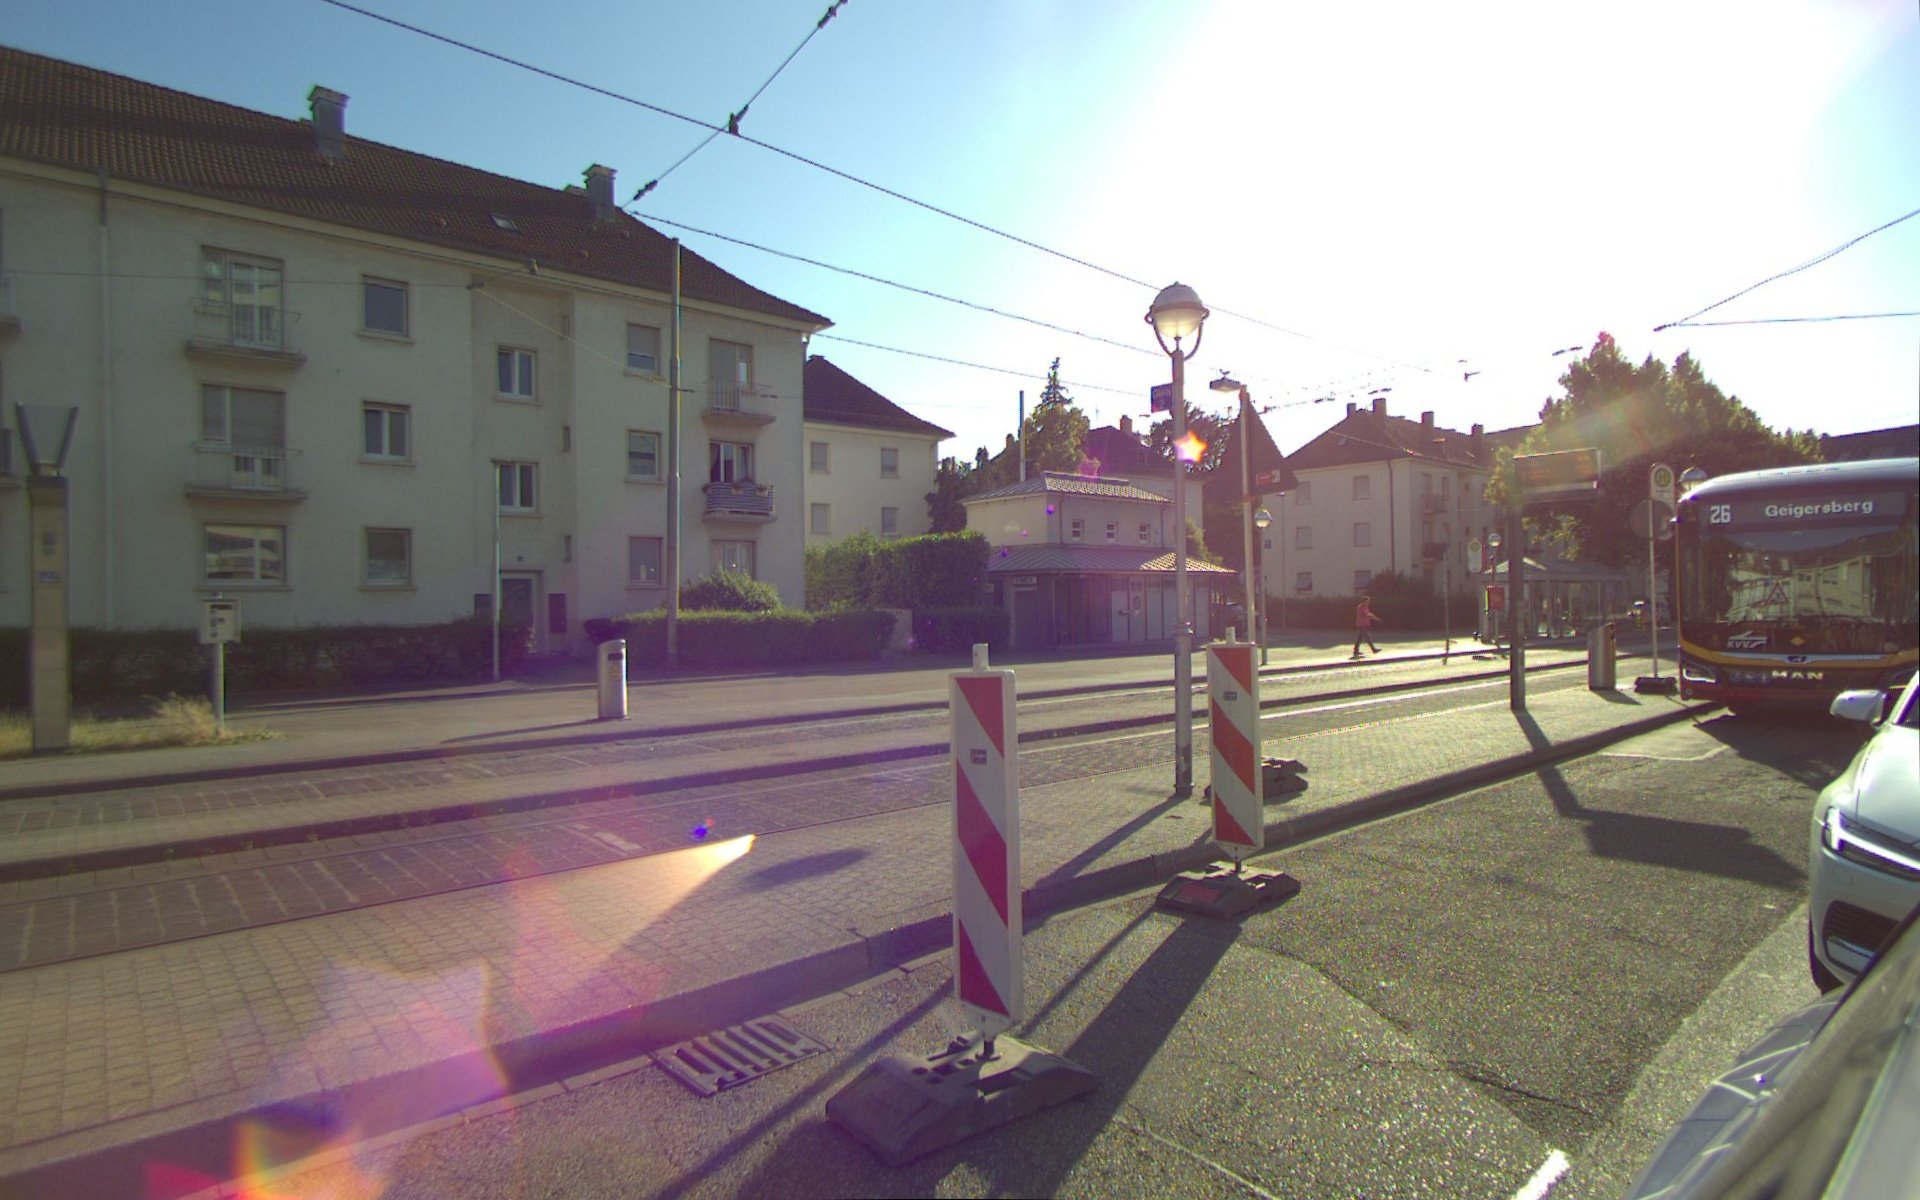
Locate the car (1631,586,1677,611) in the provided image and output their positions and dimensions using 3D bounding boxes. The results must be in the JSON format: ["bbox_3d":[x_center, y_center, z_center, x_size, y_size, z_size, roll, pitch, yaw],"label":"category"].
[{"bbox_3d":[53.782,-0.113,78.434,3.930,1.887,1.997,-1,0,-41],"label":"car"}]

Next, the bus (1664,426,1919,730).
[{"bbox_3d":[14.319,-0.262,15.846,11.824,3.345,2.745,0,0,-42],"label":"bus"}]

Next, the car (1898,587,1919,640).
[{"bbox_3d":[28.787,0.370,29.229,4.740,1.477,1.968,0,0,-41],"label":"car"}]

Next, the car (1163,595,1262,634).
[{"bbox_3d":[11.588,0.681,46.668,1.964,1.694,4.050,-1,-1,-39],"label":"car"}]

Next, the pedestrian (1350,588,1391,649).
[{"bbox_3d":[12.085,0.528,29.813,0.810,1.740,0.841,0,0,-39],"label":"pedestrian"}]

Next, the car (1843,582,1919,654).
[{"bbox_3d":[21.228,0.361,22.364,4.740,1.477,1.968,0,0,-41],"label":"car"}]

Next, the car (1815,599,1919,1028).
[{"bbox_3d":[5.275,0.735,4.358,4.143,1.472,1.819,0,0,-41],"label":"car"}]

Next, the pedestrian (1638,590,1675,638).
[{"bbox_3d":[23.767,0.474,34.542,0.814,1.631,0.837,0,0,19],"label":"pedestrian"}]
